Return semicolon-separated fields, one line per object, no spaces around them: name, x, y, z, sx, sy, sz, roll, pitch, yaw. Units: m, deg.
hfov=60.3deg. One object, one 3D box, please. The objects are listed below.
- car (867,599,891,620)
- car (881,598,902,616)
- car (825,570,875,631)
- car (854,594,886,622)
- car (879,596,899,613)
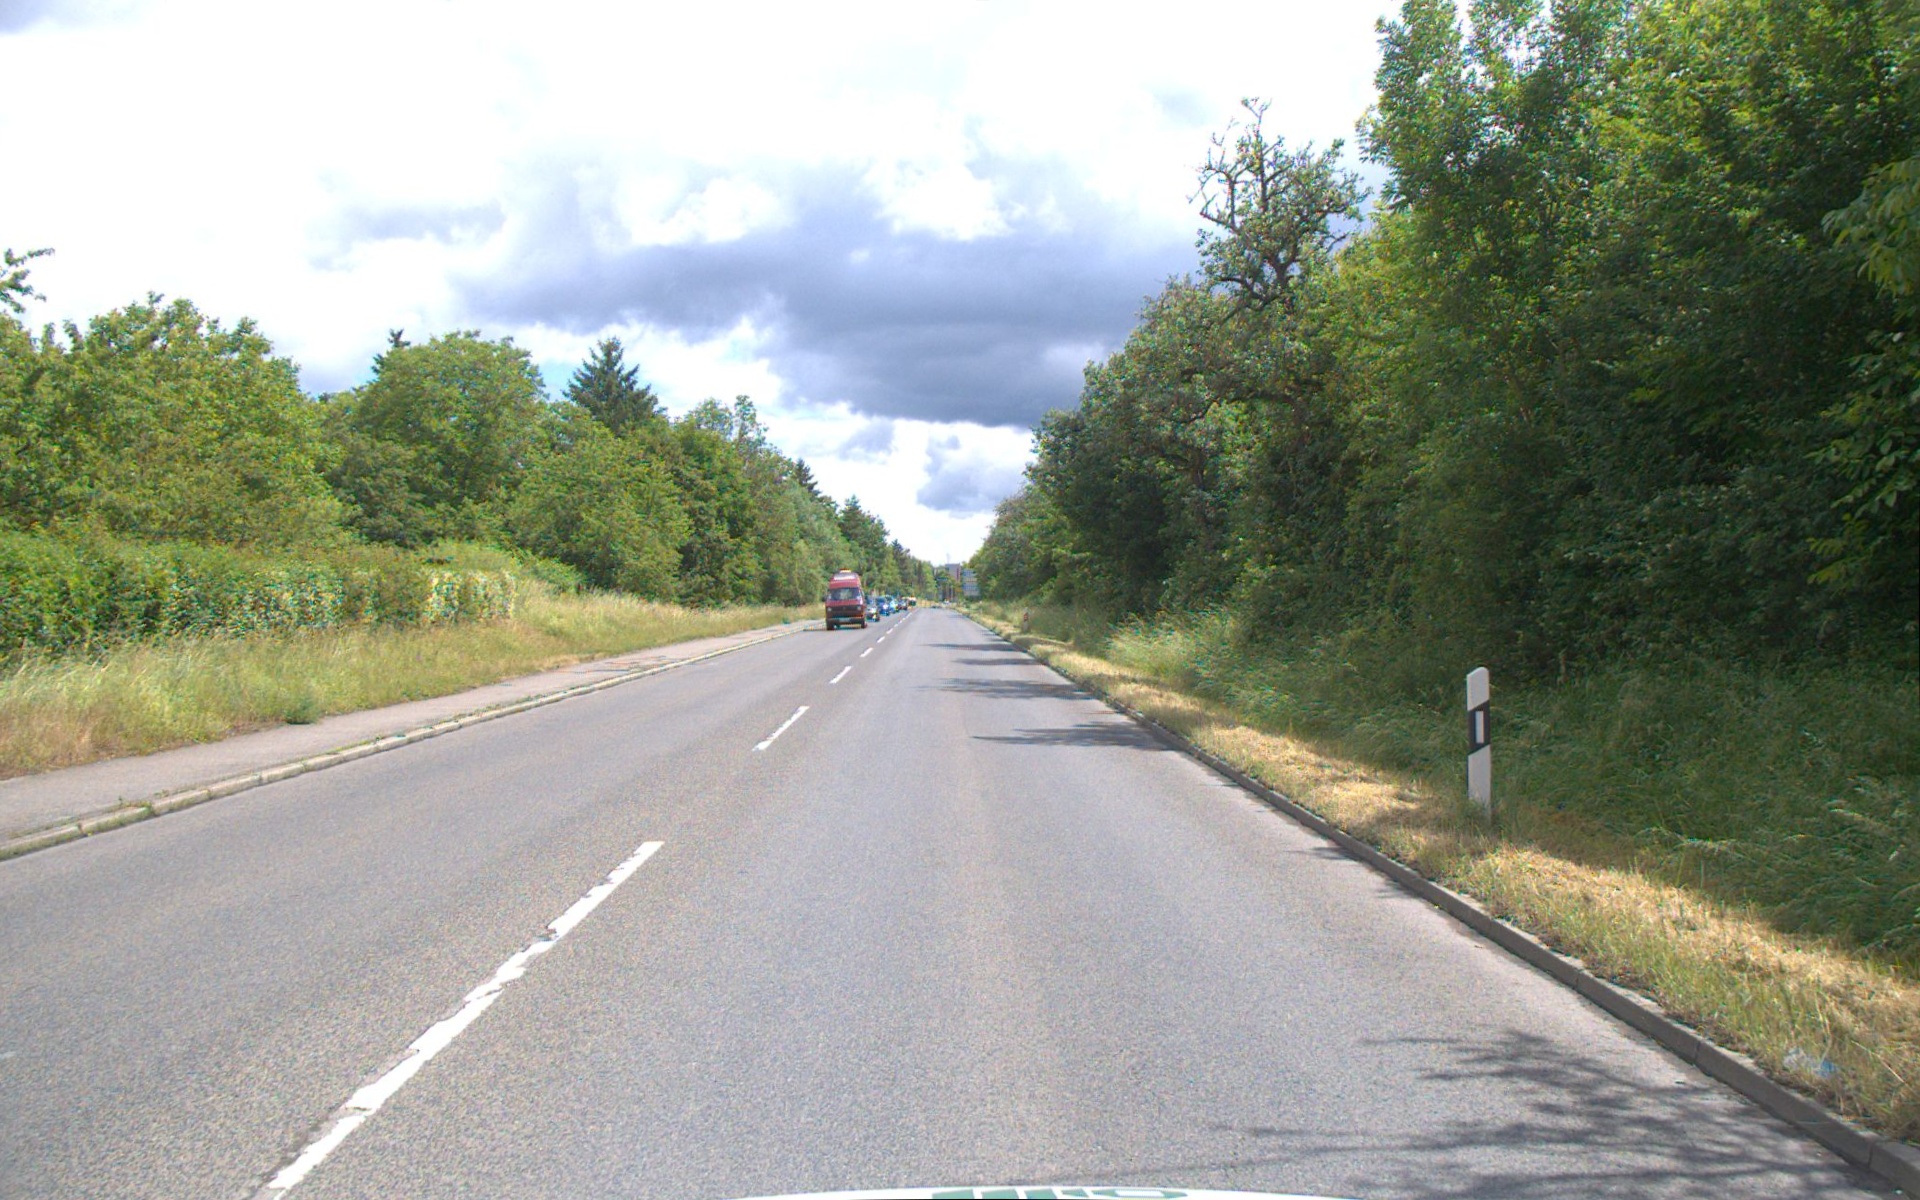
car;-6.225;0.717;127.386;1.748;1.472;4.450;-3;0;-2
car;-5.899;0.629;143.426;1.748;1.472;2.965;-3;0;-2
car;-4.991;-0.002;75.420;1.929;2.594;4.723;-3;0;-1
car;-5.190;0.456;95.896;1.682;1.496;3.999;-3;0;-2
car;-6.766;0.392;158.393;1.846;1.518;4.715;-3;0;-2
